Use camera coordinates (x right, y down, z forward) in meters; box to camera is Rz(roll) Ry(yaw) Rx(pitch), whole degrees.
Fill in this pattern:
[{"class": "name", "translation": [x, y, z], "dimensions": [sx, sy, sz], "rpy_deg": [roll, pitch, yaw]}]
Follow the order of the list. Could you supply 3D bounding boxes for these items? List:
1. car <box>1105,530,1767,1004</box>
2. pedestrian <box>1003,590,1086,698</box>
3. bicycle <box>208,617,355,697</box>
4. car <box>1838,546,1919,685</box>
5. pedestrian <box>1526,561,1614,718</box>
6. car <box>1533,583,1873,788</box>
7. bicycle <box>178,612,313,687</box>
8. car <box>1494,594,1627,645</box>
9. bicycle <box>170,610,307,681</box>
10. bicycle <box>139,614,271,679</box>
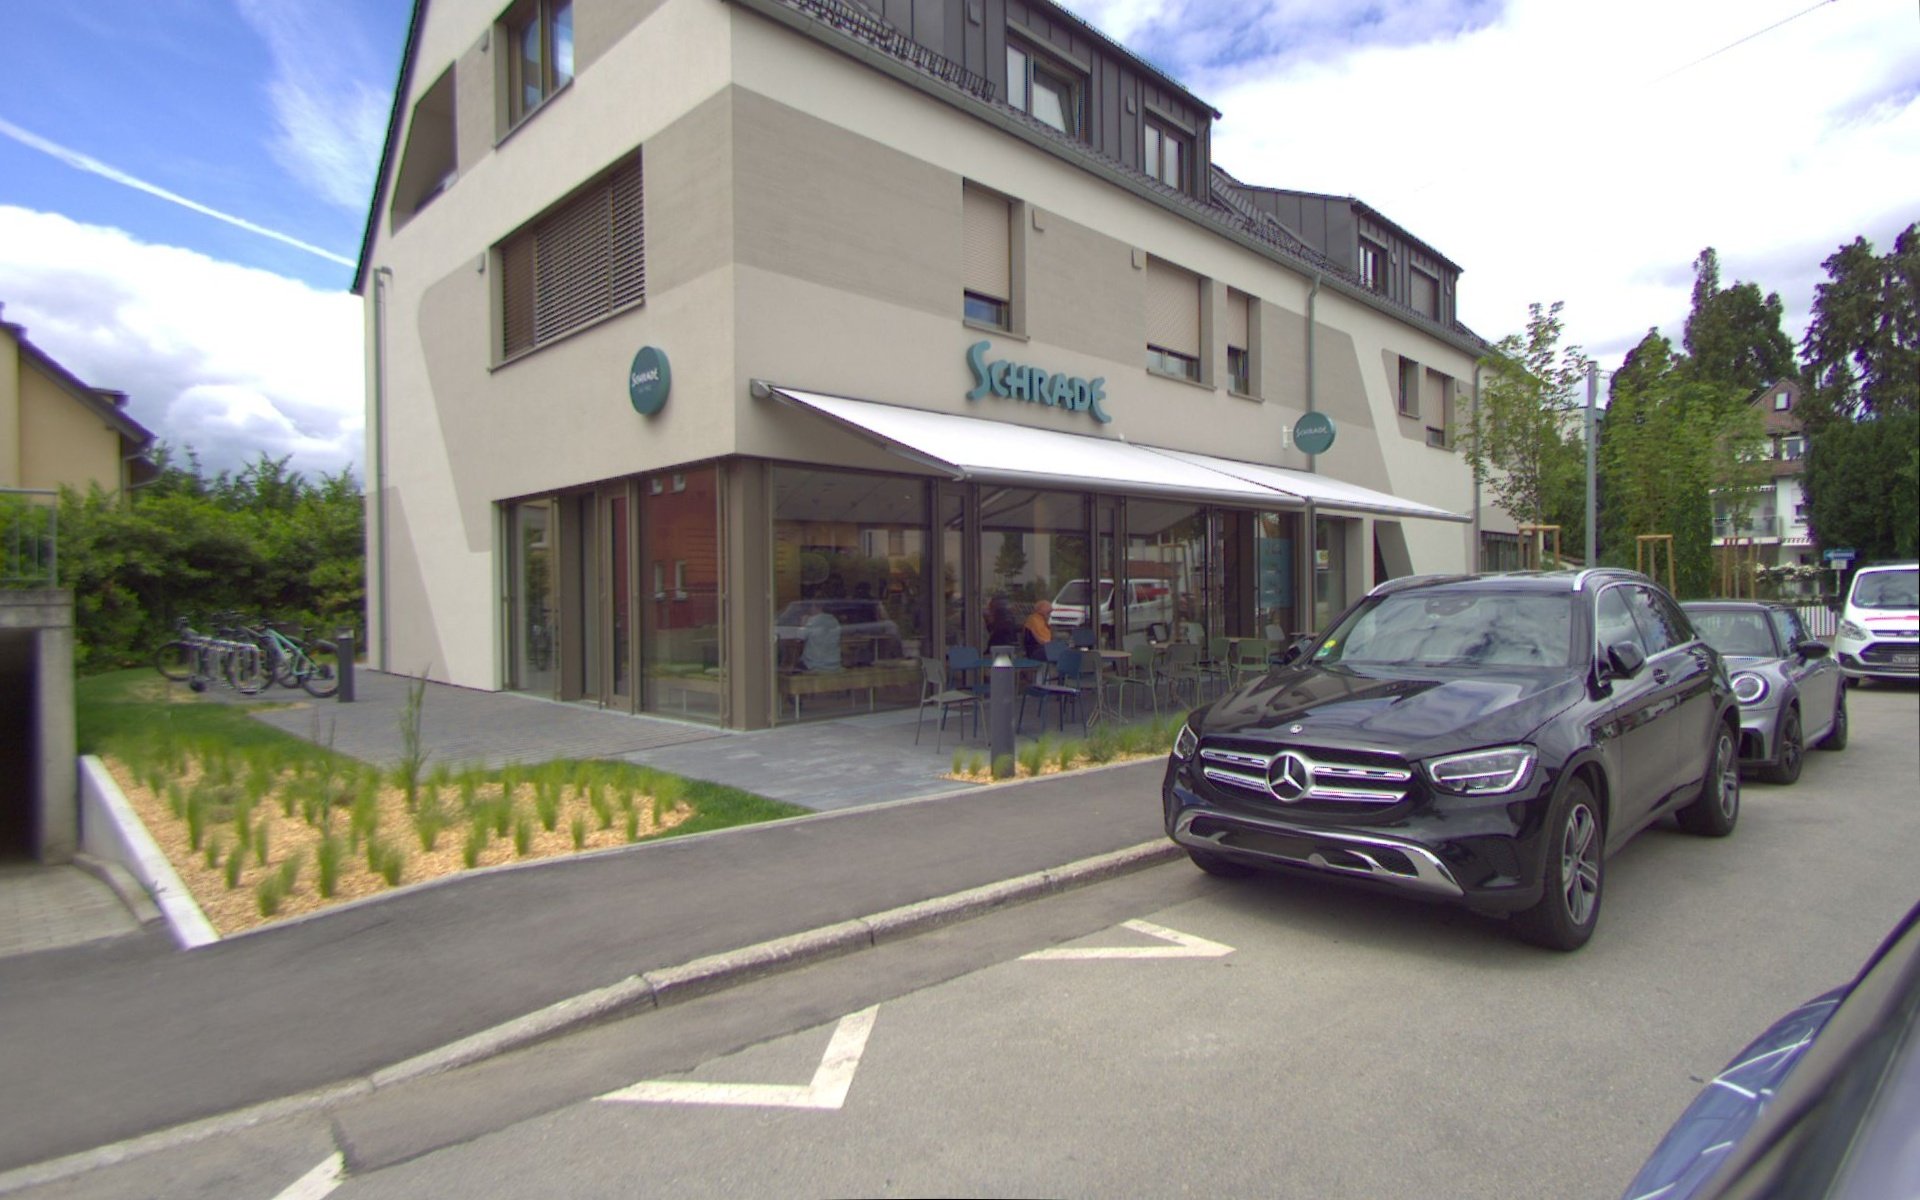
[{"class": "car", "translation": [2.950, 0.570, 5.727], "dimensions": [4.390, 1.657, 1.849], "rpy_deg": [-1, -1, -43]}, {"class": "pedestrian", "translation": [1.035, 0.512, 12.366], "dimensions": [0.751, 1.254, 0.681], "rpy_deg": [0, 0, 44]}, {"class": "bicycle", "translation": [-9.449, 0.790, 14.115], "dimensions": [1.751, 1.065, 0.461], "rpy_deg": [0, 1, 2]}, {"class": "car", "translation": [16.237, 0.187, 16.571], "dimensions": [5.470, 2.039, 1.996], "rpy_deg": [-1, -1, -41]}, {"class": "pedestrian", "translation": [6.878, 0.418, 11.418], "dimensions": [0.648, 1.690, 0.677], "rpy_deg": [-1, 1, -40]}, {"class": "car", "translation": [6.833, 0.606, 9.175], "dimensions": [3.769, 1.471, 1.709], "rpy_deg": [-1, -1, -42]}, {"class": "bicycle", "translation": [-10.934, 0.749, 15.504], "dimensions": [1.751, 1.097, 0.461], "rpy_deg": [0, 1, 2]}, {"class": "car", "translation": [22.176, 0.740, 37.451], "dimensions": [3.830, 1.616, 1.847], "rpy_deg": [-6, -3, 43]}, {"class": "bicycle", "translation": [-11.824, 0.743, 16.610], "dimensions": [1.898, 1.120, 0.461], "rpy_deg": [-1, 1, -1]}, {"class": "bicycle", "translation": [-12.895, 0.791, 17.310], "dimensions": [1.898, 1.065, 0.461], "rpy_deg": [-1, 1, -1]}]
